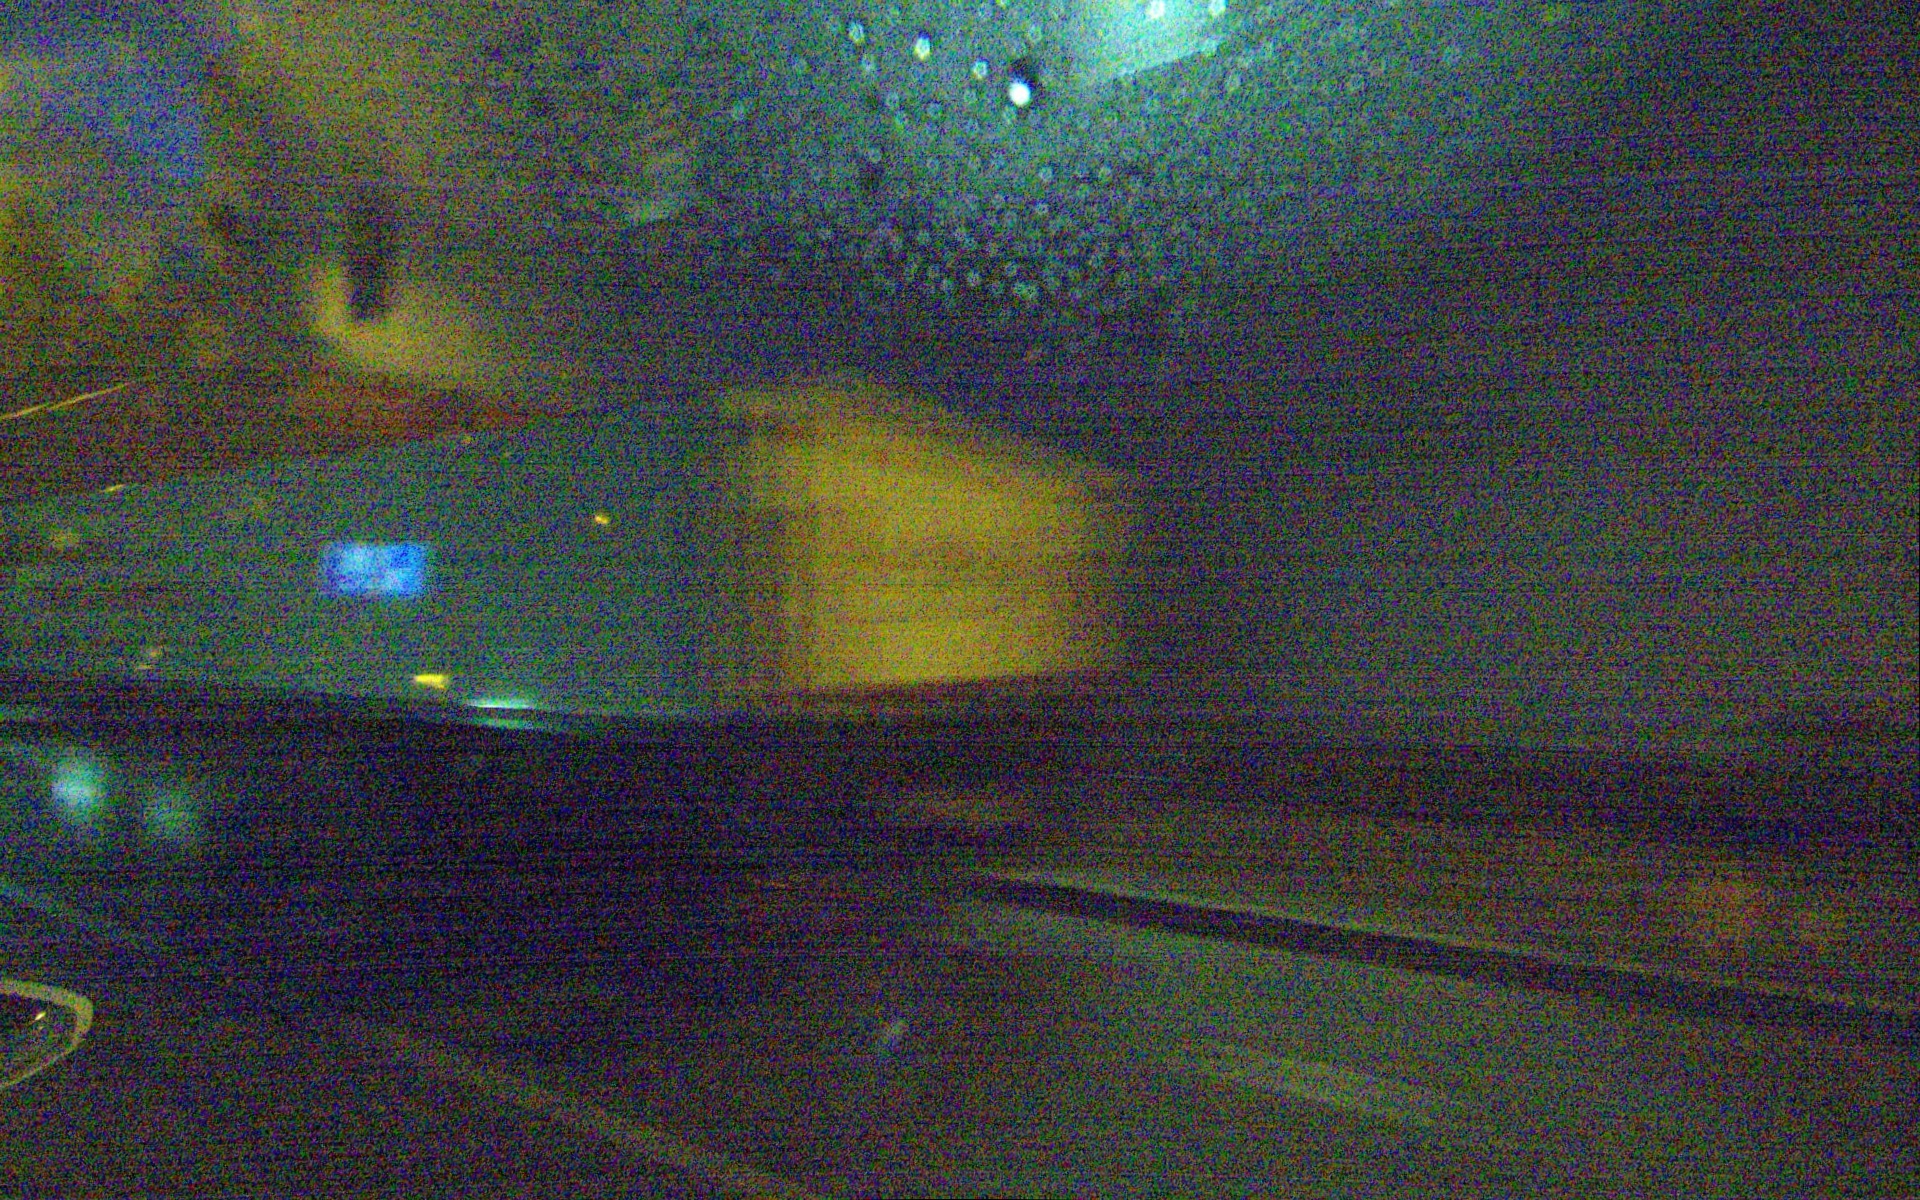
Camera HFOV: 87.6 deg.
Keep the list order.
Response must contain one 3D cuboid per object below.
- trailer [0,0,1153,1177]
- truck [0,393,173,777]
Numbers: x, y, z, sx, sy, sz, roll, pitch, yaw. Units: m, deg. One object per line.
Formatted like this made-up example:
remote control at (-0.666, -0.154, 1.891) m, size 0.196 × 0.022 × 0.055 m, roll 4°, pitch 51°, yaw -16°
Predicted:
trailer at (-5.858, -0.241, 7.682) m, size 14.448 × 3.812 × 2.760 m, roll -1°, pitch -2°, yaw 33°
truck at (-11.686, -0.101, 11.377) m, size 5.154 × 3.812 × 2.761 m, roll -1°, pitch -1°, yaw 32°
